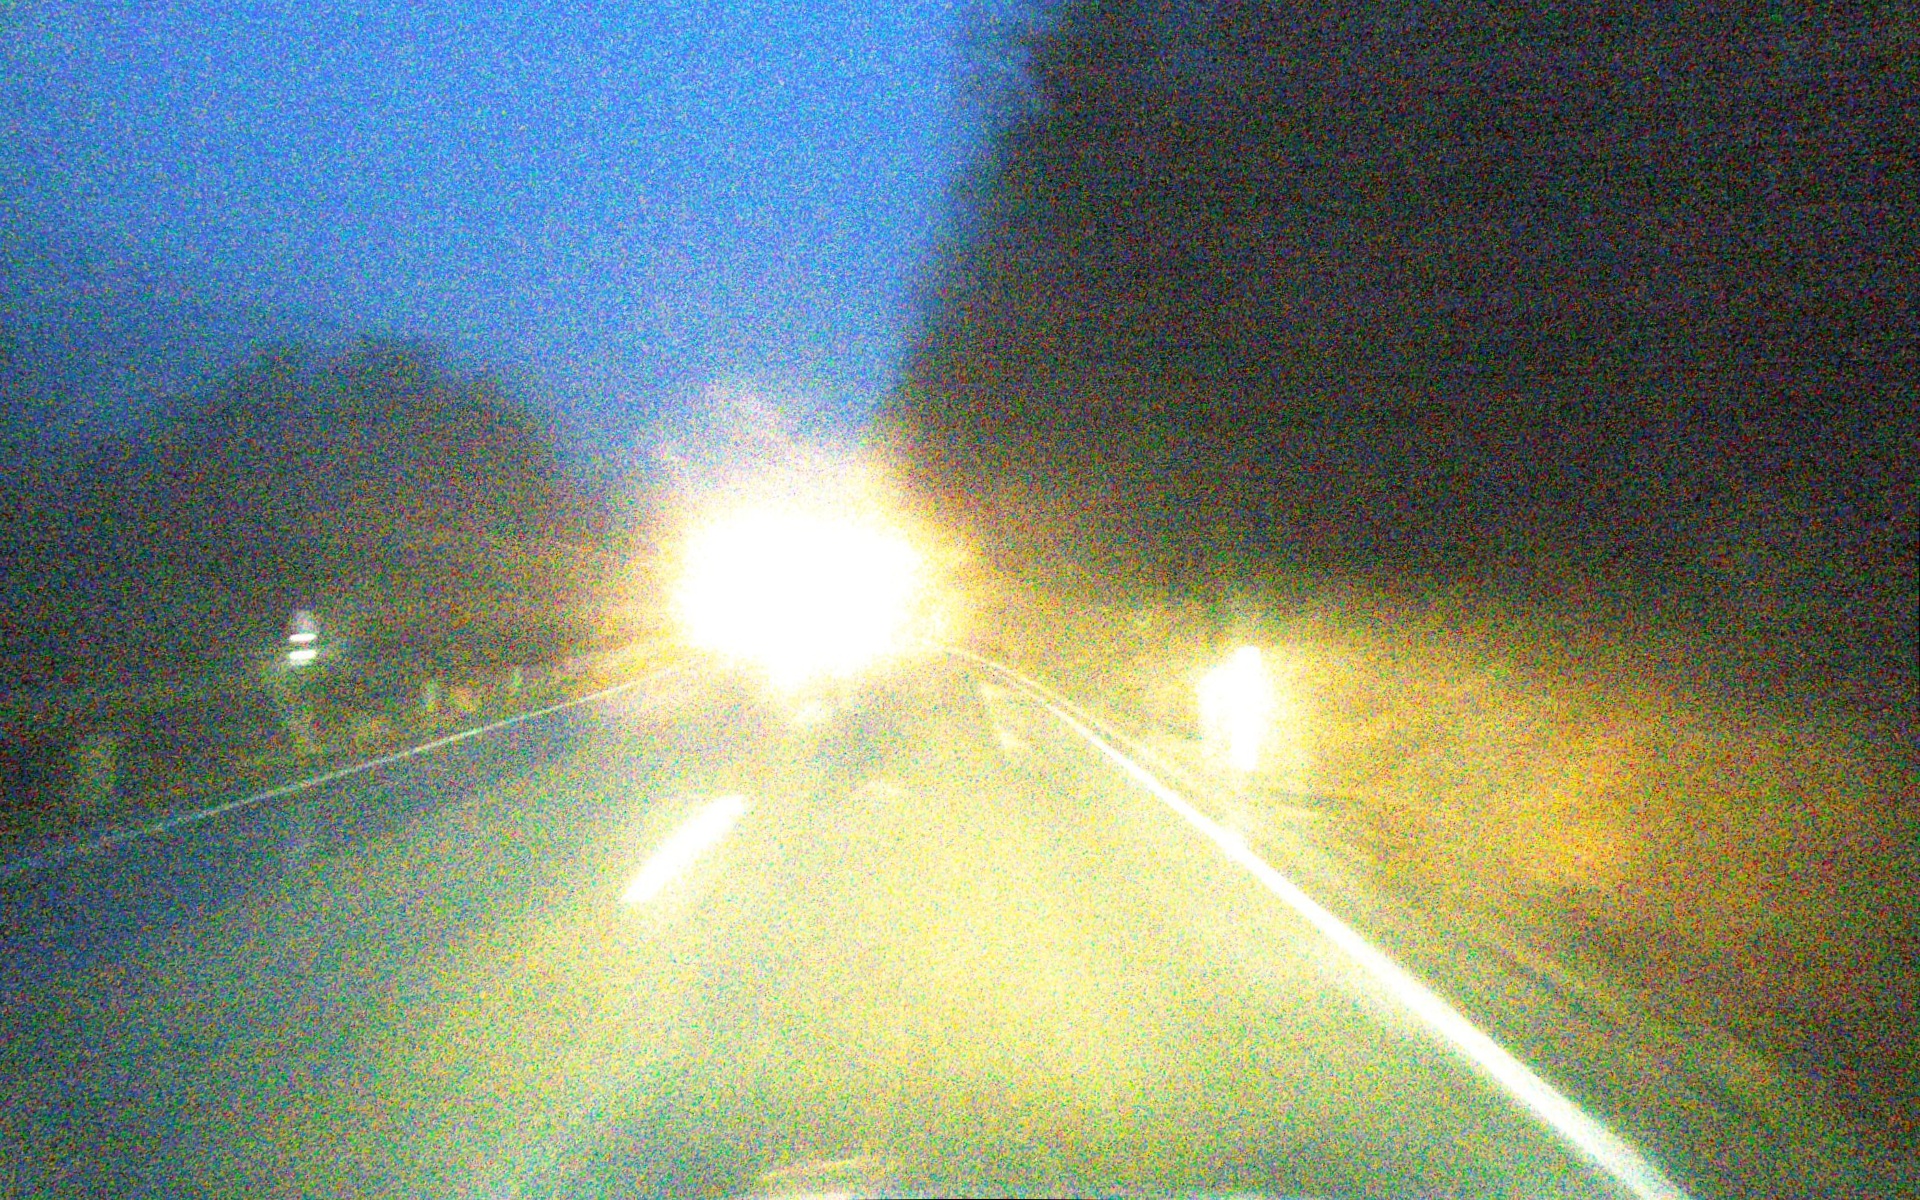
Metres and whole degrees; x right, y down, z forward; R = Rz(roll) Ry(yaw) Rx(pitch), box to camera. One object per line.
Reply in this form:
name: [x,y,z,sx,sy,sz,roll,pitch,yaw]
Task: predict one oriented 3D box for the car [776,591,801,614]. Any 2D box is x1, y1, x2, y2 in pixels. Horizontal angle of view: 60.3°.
car: [-12.430,0.158,120.099,1.688,1.641,3.998,1,0,-5]
